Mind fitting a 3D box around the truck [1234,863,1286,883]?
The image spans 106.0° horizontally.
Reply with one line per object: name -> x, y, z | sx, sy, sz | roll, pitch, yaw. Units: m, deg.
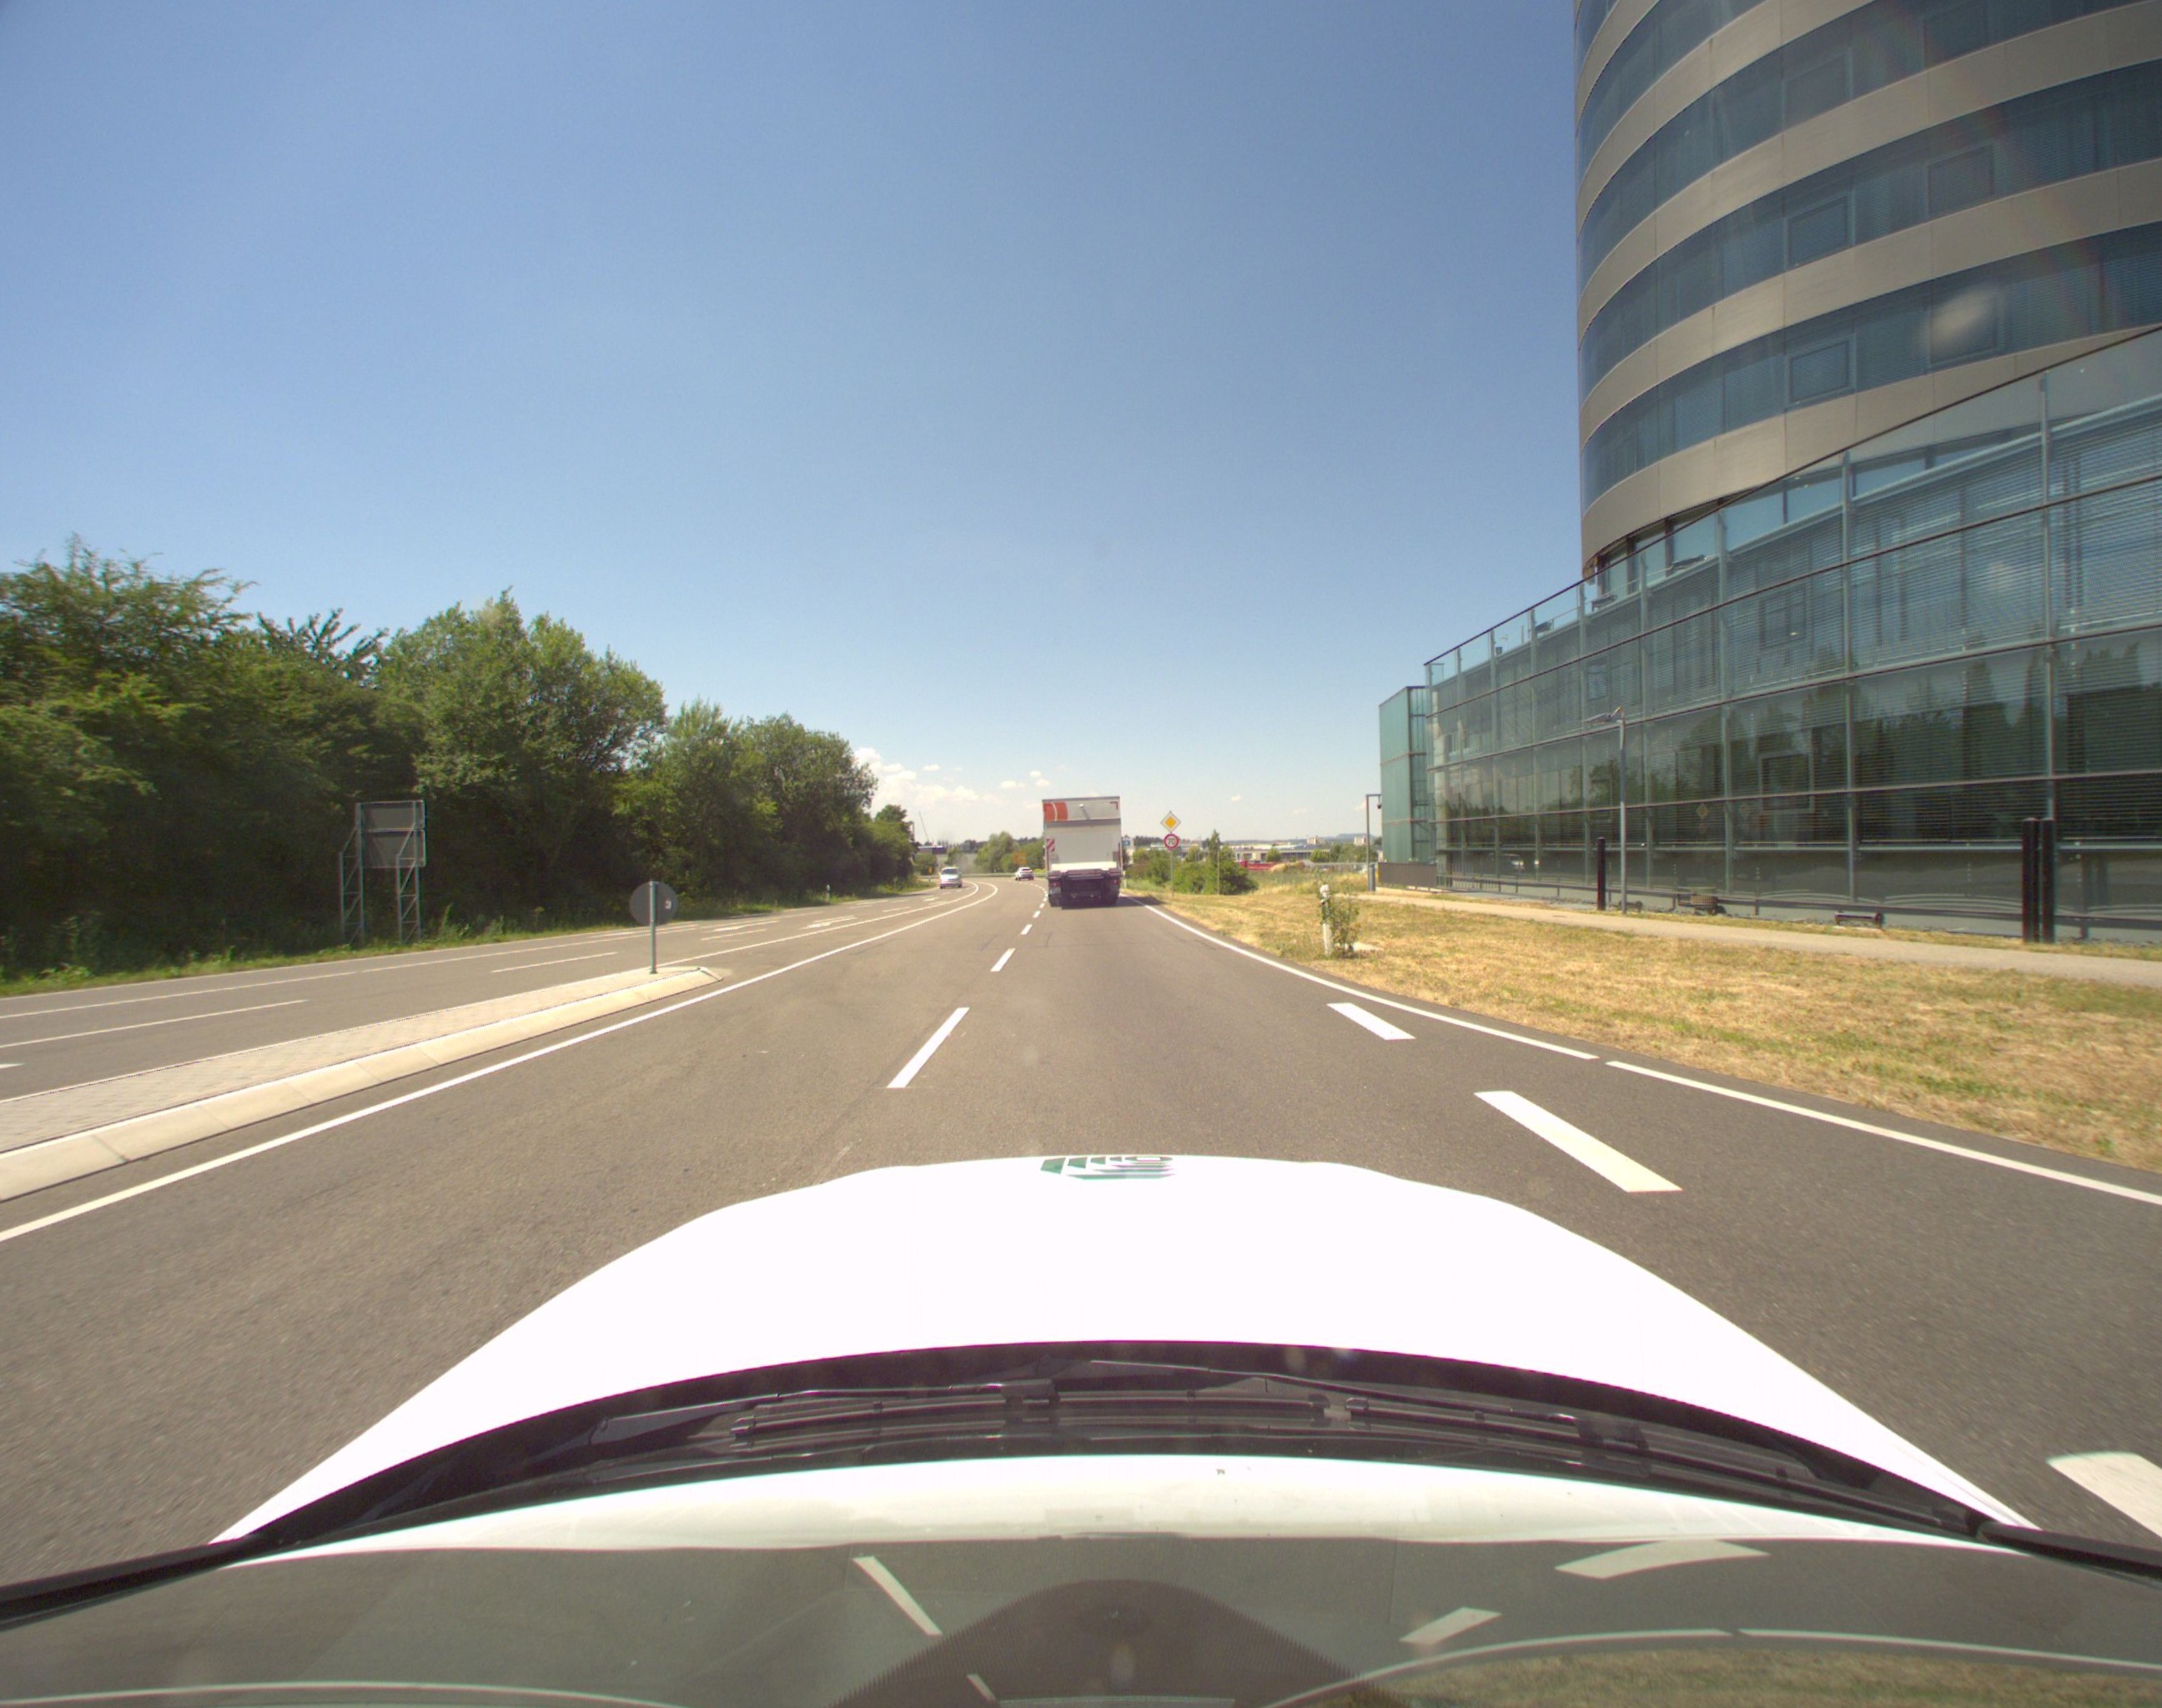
truck -> 34.467, 3.648, 156.822 | 9.301, 3.684, 3.150 | 0, 0, 27

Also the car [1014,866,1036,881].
car -> -6.628, 2.323, 95.903 | 1.945, 1.664, 3.982 | 0, -2, -12

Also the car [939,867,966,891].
car -> -11.717, 2.267, 74.555 | 1.969, 2.013, 4.835 | 0, 0, -3

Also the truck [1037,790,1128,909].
truck -> 0.095, -0.088, 30.642 | 2.794, 3.711, 9.107 | -2, -1, 0
